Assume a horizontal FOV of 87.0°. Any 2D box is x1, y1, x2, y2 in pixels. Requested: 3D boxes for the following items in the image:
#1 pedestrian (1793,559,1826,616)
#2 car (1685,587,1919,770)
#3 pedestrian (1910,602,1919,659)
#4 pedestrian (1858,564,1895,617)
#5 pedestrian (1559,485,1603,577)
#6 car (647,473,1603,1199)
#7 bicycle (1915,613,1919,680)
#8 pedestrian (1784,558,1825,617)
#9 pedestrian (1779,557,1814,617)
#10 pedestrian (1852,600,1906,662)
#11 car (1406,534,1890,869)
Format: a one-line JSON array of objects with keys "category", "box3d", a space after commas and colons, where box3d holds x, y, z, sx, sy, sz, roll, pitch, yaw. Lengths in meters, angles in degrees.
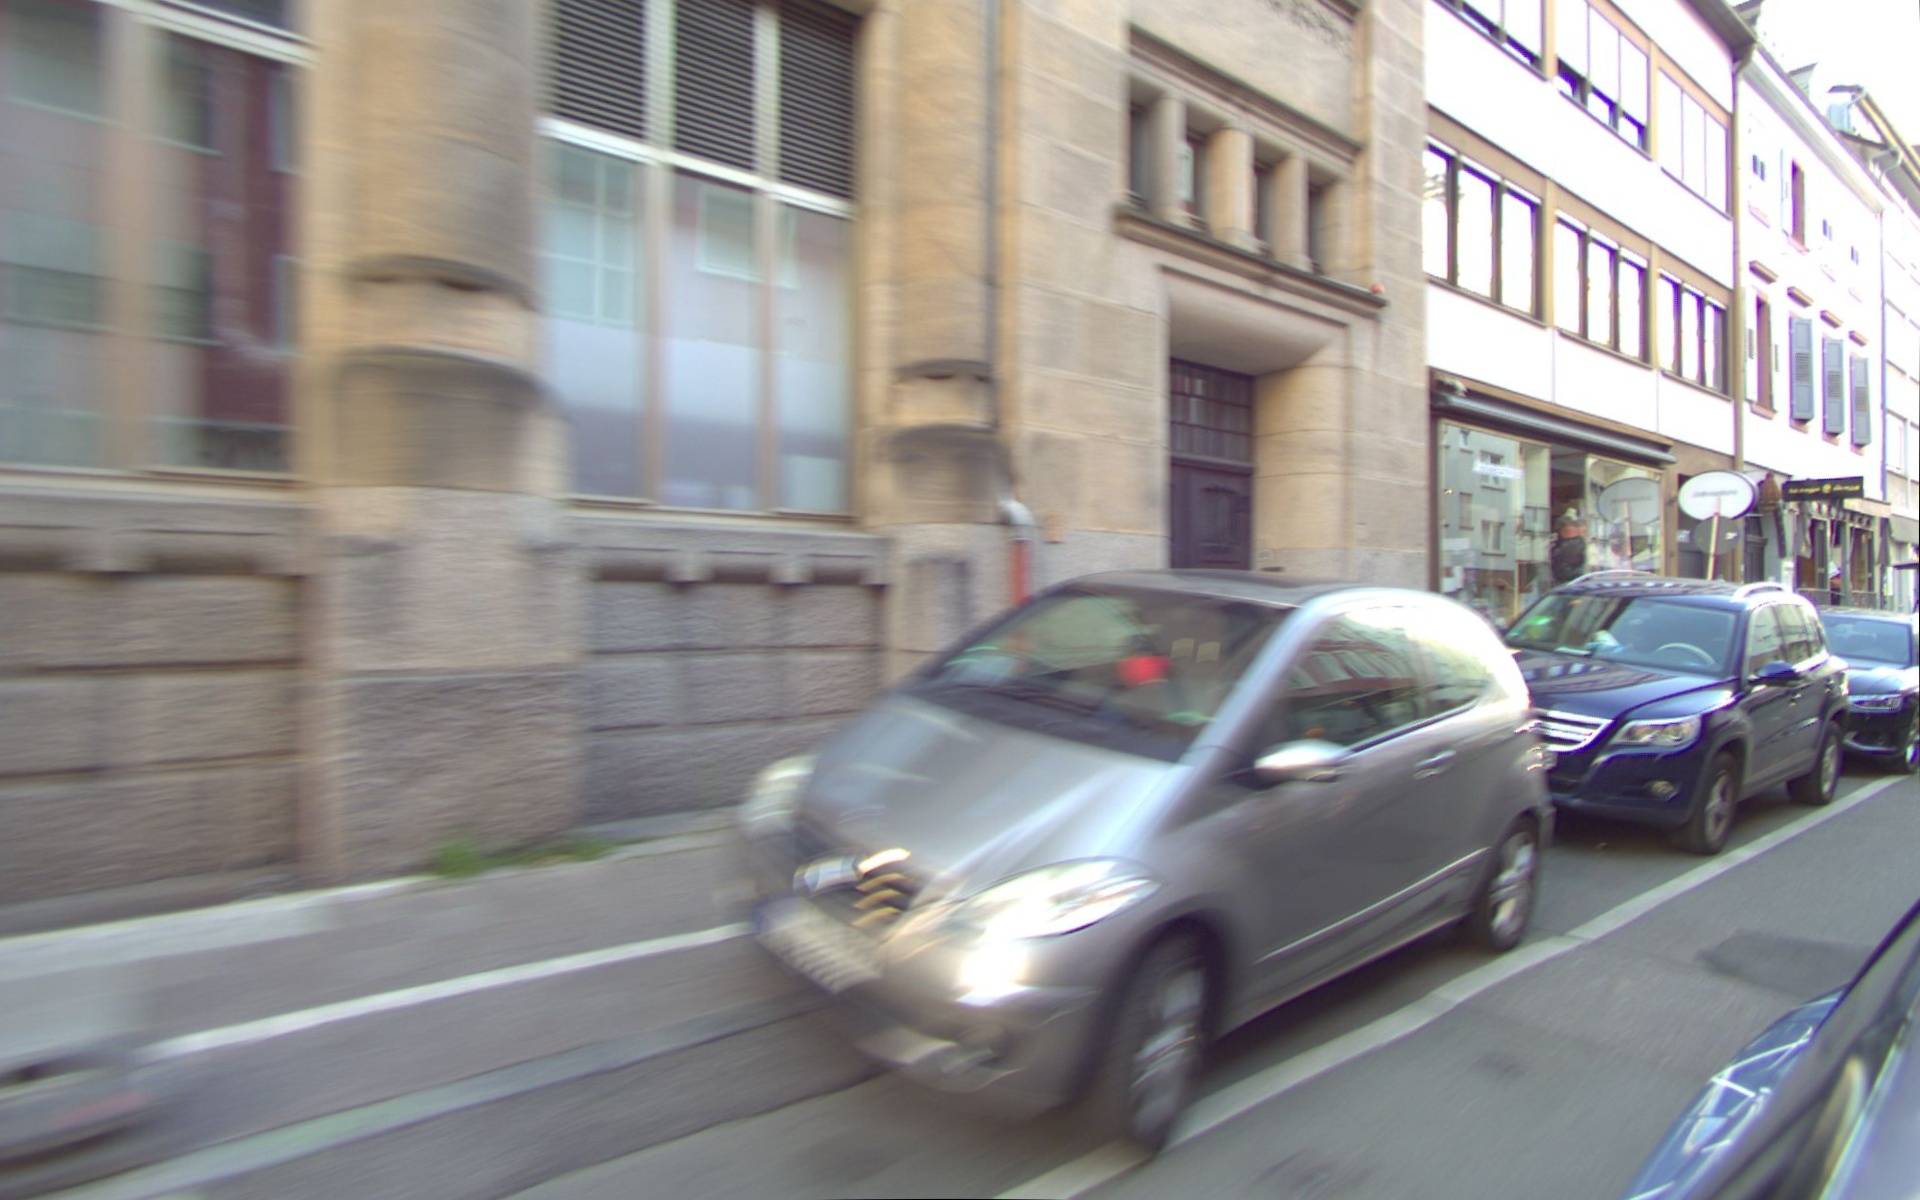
[{"category": "pedestrian", "box3d": [19.205, -0.284, 22.875, 0.598, 1.258, 0.467, 0, 0, -38]}, {"category": "car", "box3d": [9.508, 0.679, 10.686, 4.899, 1.536, 1.694, 0, -1, -38]}, {"category": "pedestrian", "box3d": [21.577, 0.664, 22.355, 0.634, 1.259, 0.737, 0, -1, -36]}, {"category": "pedestrian", "box3d": [21.883, -0.224, 24.171, 0.598, 1.258, 0.567, 0, 0, -38]}, {"category": "pedestrian", "box3d": [9.500, -1.038, 15.477, 0.417, 1.367, 0.437, 0, -1, -41]}, {"category": "car", "box3d": [0.962, 0.572, 4.155, 3.930, 1.687, 1.776, 0, 0, -41]}, {"category": "bicycle", "box3d": [18.094, 0.840, 17.709, 0.585, 1.318, 1.875, 1, 3, -37]}, {"category": "pedestrian", "box3d": [18.328, -0.275, 21.968, 0.598, 1.258, 0.567, 0, 0, -38]}, {"category": "pedestrian", "box3d": [17.739, -0.274, 21.461, 0.598, 1.258, 0.467, 0, 0, -38]}, {"category": "pedestrian", "box3d": [19.168, 0.632, 21.109, 0.634, 1.258, 0.736, 0, 0, -38]}, {"category": "car", "box3d": [5.208, 0.574, 7.465, 4.160, 1.830, 1.674, 0, -2, -37]}]
